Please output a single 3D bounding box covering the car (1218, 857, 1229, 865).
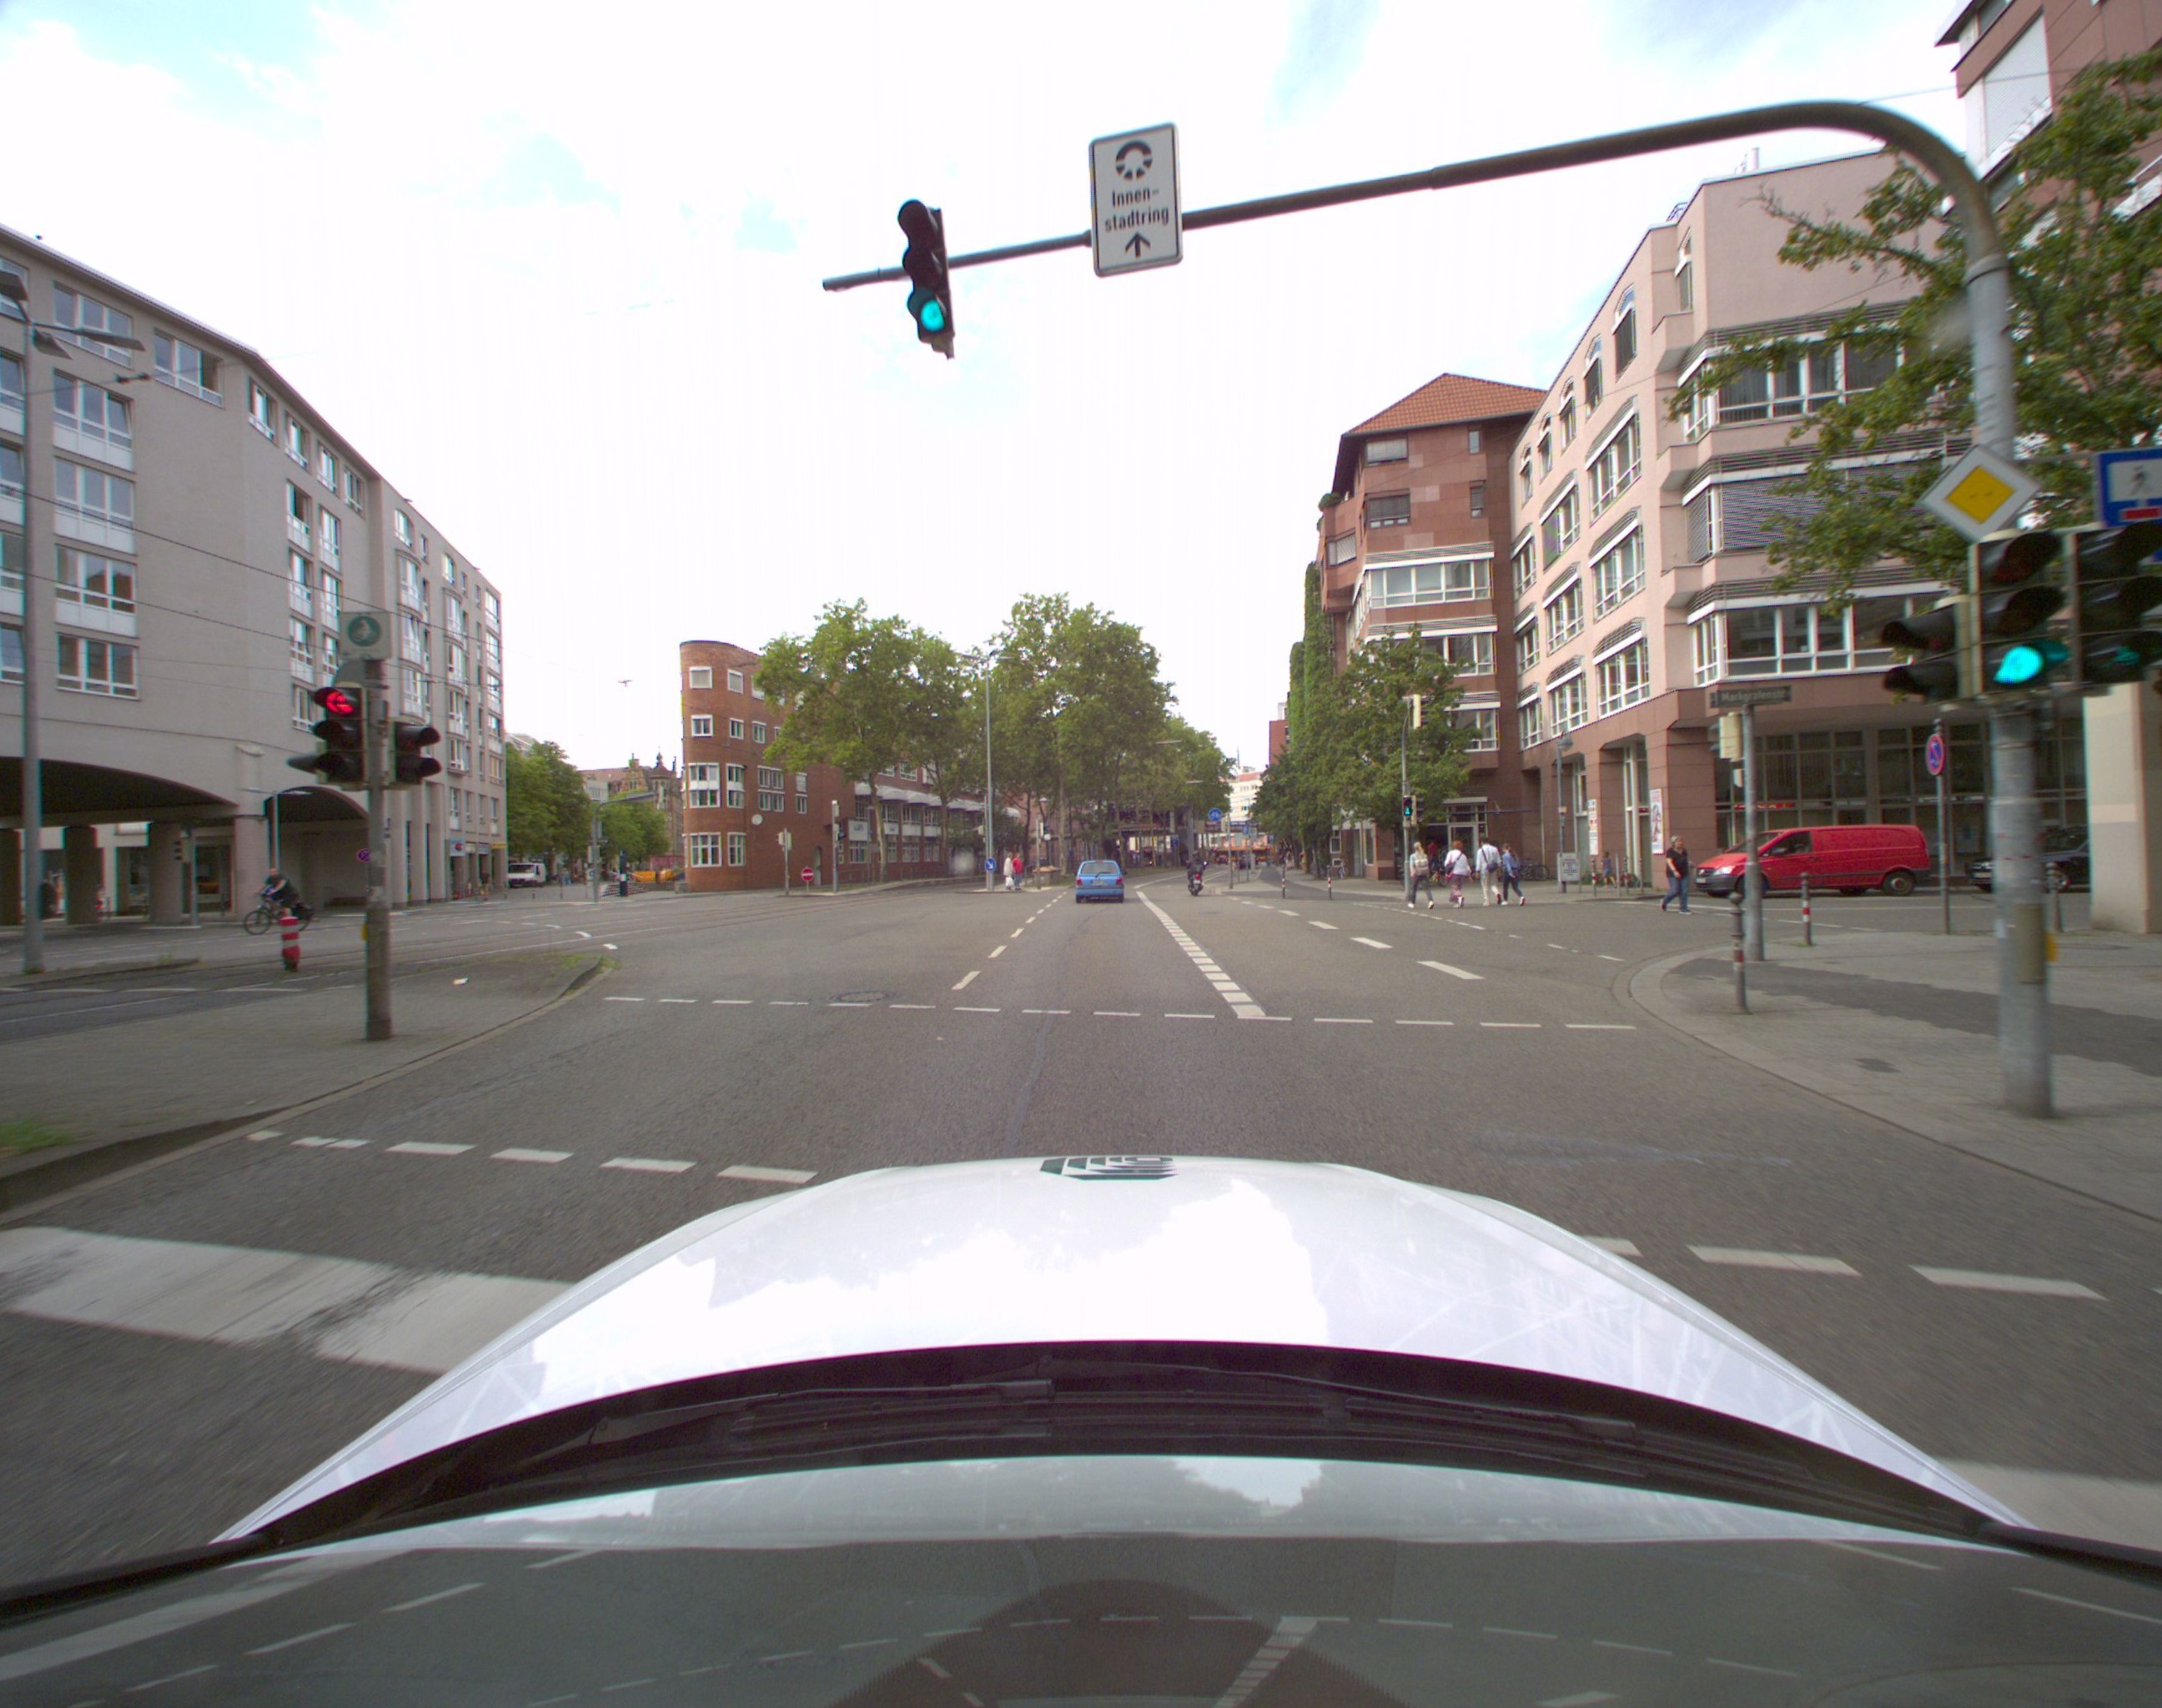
[{"bbox_3d":[27.412,1.343,156.481,1.873,1.624,4.015,-2,-1,14],"label":"car"}]

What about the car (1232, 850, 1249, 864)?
[{"bbox_3d":[18.544,0.363,94.550,1.687,1.601,4.015,-2,0,14],"label":"car"}]

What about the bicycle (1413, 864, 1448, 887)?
[{"bbox_3d":[14.744,0.901,34.357,1.287,0.868,0.456,-5,-2,23],"label":"bicycle"}]

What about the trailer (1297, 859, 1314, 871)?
[{"bbox_3d":[20.895,1.013,75.665,0.982,1.059,1.619,-2,-1,37],"label":"trailer"}]

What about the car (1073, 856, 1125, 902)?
[{"bbox_3d":[0.651,0.794,27.710,1.634,1.386,3.845,-1,0,2],"label":"car"}]

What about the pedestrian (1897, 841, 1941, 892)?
[{"bbox_3d":[26.435,0.381,25.704,0.646,1.579,0.677,-2,-1,11],"label":"pedestrian"}]

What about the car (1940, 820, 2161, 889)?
[{"bbox_3d":[25.372,0.029,20.513,4.792,1.590,2.007,-2,-2,14],"label":"car"}]

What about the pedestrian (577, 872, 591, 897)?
[{"bbox_3d":[-39.280,2.386,64.358,0.793,1.964,0.799,-1,-1,-23],"label":"pedestrian"}]

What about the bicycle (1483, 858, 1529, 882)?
[{"bbox_3d":[18.694,0.710,35.832,1.720,1.008,0.480,-2,-1,8],"label":"bicycle"}]

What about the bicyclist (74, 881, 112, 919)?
[{"bbox_3d":[-42.577,1.975,35.101,1.024,1.562,0.584,-2,-1,10],"label":"bicyclist"}]

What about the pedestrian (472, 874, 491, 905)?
[{"bbox_3d":[-33.353,1.951,45.292,0.677,1.679,0.747,-1,-1,-26],"label":"pedestrian"}]

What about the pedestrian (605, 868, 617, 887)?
[{"bbox_3d":[-51.335,2.563,88.916,0.867,2.014,1.334,-1,-1,-23],"label":"pedestrian"}]

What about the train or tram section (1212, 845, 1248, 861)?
[{"bbox_3d":[33.103,-0.266,180.499,8.859,3.254,2.370,-1,-1,-37],"label":"train or tram section"}]

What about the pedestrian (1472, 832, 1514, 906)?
[{"bbox_3d":[10.444,0.380,20.674,0.672,1.828,0.853,-2,-1,8],"label":"pedestrian"}]

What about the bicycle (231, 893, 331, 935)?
[{"bbox_3d":[-24.323,1.797,24.820,0.674,1.093,2.213,-2,0,6],"label":"bicycle"}]

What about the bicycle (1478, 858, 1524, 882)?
[{"bbox_3d":[18.738,0.712,36.359,1.720,1.008,0.472,-2,-1,8],"label":"bicycle"}]

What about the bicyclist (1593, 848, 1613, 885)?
[{"bbox_3d":[17.714,0.421,27.635,0.491,1.244,0.483,-2,-1,39],"label":"bicyclist"}]

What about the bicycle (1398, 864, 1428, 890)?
[{"bbox_3d":[13.156,0.896,32.284,0.614,1.008,1.738,-2,-1,6],"label":"bicycle"}]

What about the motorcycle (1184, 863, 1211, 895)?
[{"bbox_3d":[4.309,0.914,30.246,0.764,1.107,2.210,-2,-1,4],"label":"motorcycle"}]

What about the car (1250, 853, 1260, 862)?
[{"bbox_3d":[32.104,0.577,150.354,1.687,1.601,4.015,-2,0,14],"label":"car"}]

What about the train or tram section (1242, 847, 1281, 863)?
[{"bbox_3d":[40.860,0.267,184.373,8.350,3.254,2.384,-2,-1,-16],"label":"train or tram section"}]

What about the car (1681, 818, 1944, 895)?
[{"bbox_3d":[19.313,0.118,21.776,4.792,1.826,2.007,-2,-2,14],"label":"car"}]

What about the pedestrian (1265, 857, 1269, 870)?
[{"bbox_3d":[26.427,1.308,115.520,0.506,1.759,0.541,-2,-1,13],"label":"pedestrian"}]

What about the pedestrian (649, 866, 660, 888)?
[{"bbox_3d":[-34.572,1.869,66.053,0.695,1.817,0.650,-1,-1,-25],"label":"pedestrian"}]

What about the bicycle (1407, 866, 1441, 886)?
[{"bbox_3d":[14.342,0.925,34.075,1.287,0.814,0.447,-2,-1,24],"label":"bicycle"}]

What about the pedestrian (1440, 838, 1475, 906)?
[{"bbox_3d":[9.239,0.426,20.012,0.514,1.616,0.853,-2,-1,8],"label":"pedestrian"}]

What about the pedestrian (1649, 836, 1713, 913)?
[{"bbox_3d":[12.342,0.412,16.777,0.671,1.538,0.949,-2,-1,9],"label":"pedestrian"}]

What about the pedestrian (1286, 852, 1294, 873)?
[{"bbox_3d":[19.000,0.740,74.138,0.642,1.859,0.785,-2,-1,12],"label":"pedestrian"}]

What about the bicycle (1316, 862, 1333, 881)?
[{"bbox_3d":[13.124,0.936,43.952,0.613,1.008,1.739,-2,-1,7],"label":"bicycle"}]

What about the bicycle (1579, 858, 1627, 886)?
[{"bbox_3d":[17.711,0.622,27.658,1.302,0.915,0.478,-2,-1,39],"label":"bicycle"}]

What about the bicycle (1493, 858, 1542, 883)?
[{"bbox_3d":[18.498,0.712,34.543,1.720,1.008,0.547,-2,-1,8],"label":"bicycle"}]

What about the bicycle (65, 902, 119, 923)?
[{"bbox_3d":[-42.658,2.527,35.130,1.969,0.836,0.580,-2,0,9],"label":"bicycle"}]

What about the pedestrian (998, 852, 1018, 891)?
[{"bbox_3d":[-3.307,0.780,36.882,0.548,1.718,0.895,-2,-1,19],"label":"pedestrian"}]

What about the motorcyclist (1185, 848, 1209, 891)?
[{"bbox_3d":[4.300,0.576,30.305,0.756,1.519,1.018,-2,-1,4],"label":"motorcyclist"}]

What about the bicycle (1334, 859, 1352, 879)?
[{"bbox_3d":[14.197,0.805,44.138,0.613,1.008,1.739,-2,-1,7],"label":"bicycle"}]

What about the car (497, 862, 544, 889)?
[{"bbox_3d":[-43.370,1.625,63.081,2.002,1.937,4.907,-1,-1,-23],"label":"car"}]

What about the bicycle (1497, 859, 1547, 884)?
[{"bbox_3d":[18.373,0.716,33.960,1.720,1.008,0.547,-2,-1,8],"label":"bicycle"}]

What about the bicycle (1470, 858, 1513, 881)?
[{"bbox_3d":[18.825,0.721,37.376,1.720,1.008,0.431,-2,-1,8],"label":"bicycle"}]

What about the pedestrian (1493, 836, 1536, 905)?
[{"bbox_3d":[11.094,0.411,20.863,0.648,1.701,1.025,-2,-1,10],"label":"pedestrian"}]

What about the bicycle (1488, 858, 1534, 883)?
[{"bbox_3d":[18.652,0.708,35.343,1.720,1.008,0.425,-2,-1,8],"label":"bicycle"}]

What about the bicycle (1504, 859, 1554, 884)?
[{"bbox_3d":[18.332,0.715,33.351,1.720,1.008,0.547,-2,-1,8],"label":"bicycle"}]

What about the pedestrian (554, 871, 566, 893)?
[{"bbox_3d":[-42.156,2.258,65.882,0.695,1.671,0.825,-1,-1,-25],"label":"pedestrian"}]

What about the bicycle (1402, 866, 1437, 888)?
[{"bbox_3d":[13.976,0.947,33.604,1.288,0.838,0.456,-2,-1,19],"label":"bicycle"}]

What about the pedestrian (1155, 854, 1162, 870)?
[{"bbox_3d":[9.419,0.963,98.766,0.723,1.859,0.873,-2,-1,14],"label":"pedestrian"}]

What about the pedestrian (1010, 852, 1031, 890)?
[{"bbox_3d":[-2.801,0.783,37.718,0.547,1.718,0.896,-2,-1,28],"label":"pedestrian"}]

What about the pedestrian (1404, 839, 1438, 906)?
[{"bbox_3d":[8.421,0.460,20.212,0.514,1.616,0.852,-2,-1,7],"label":"pedestrian"}]

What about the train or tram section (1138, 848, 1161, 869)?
[{"bbox_3d":[11.349,0.776,134.311,2.373,3.254,8.848,-2,-1,12],"label":"train or tram section"}]

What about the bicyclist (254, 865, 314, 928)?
[{"bbox_3d":[-24.334,1.279,24.876,0.663,1.848,1.083,-2,0,6],"label":"bicyclist"}]
